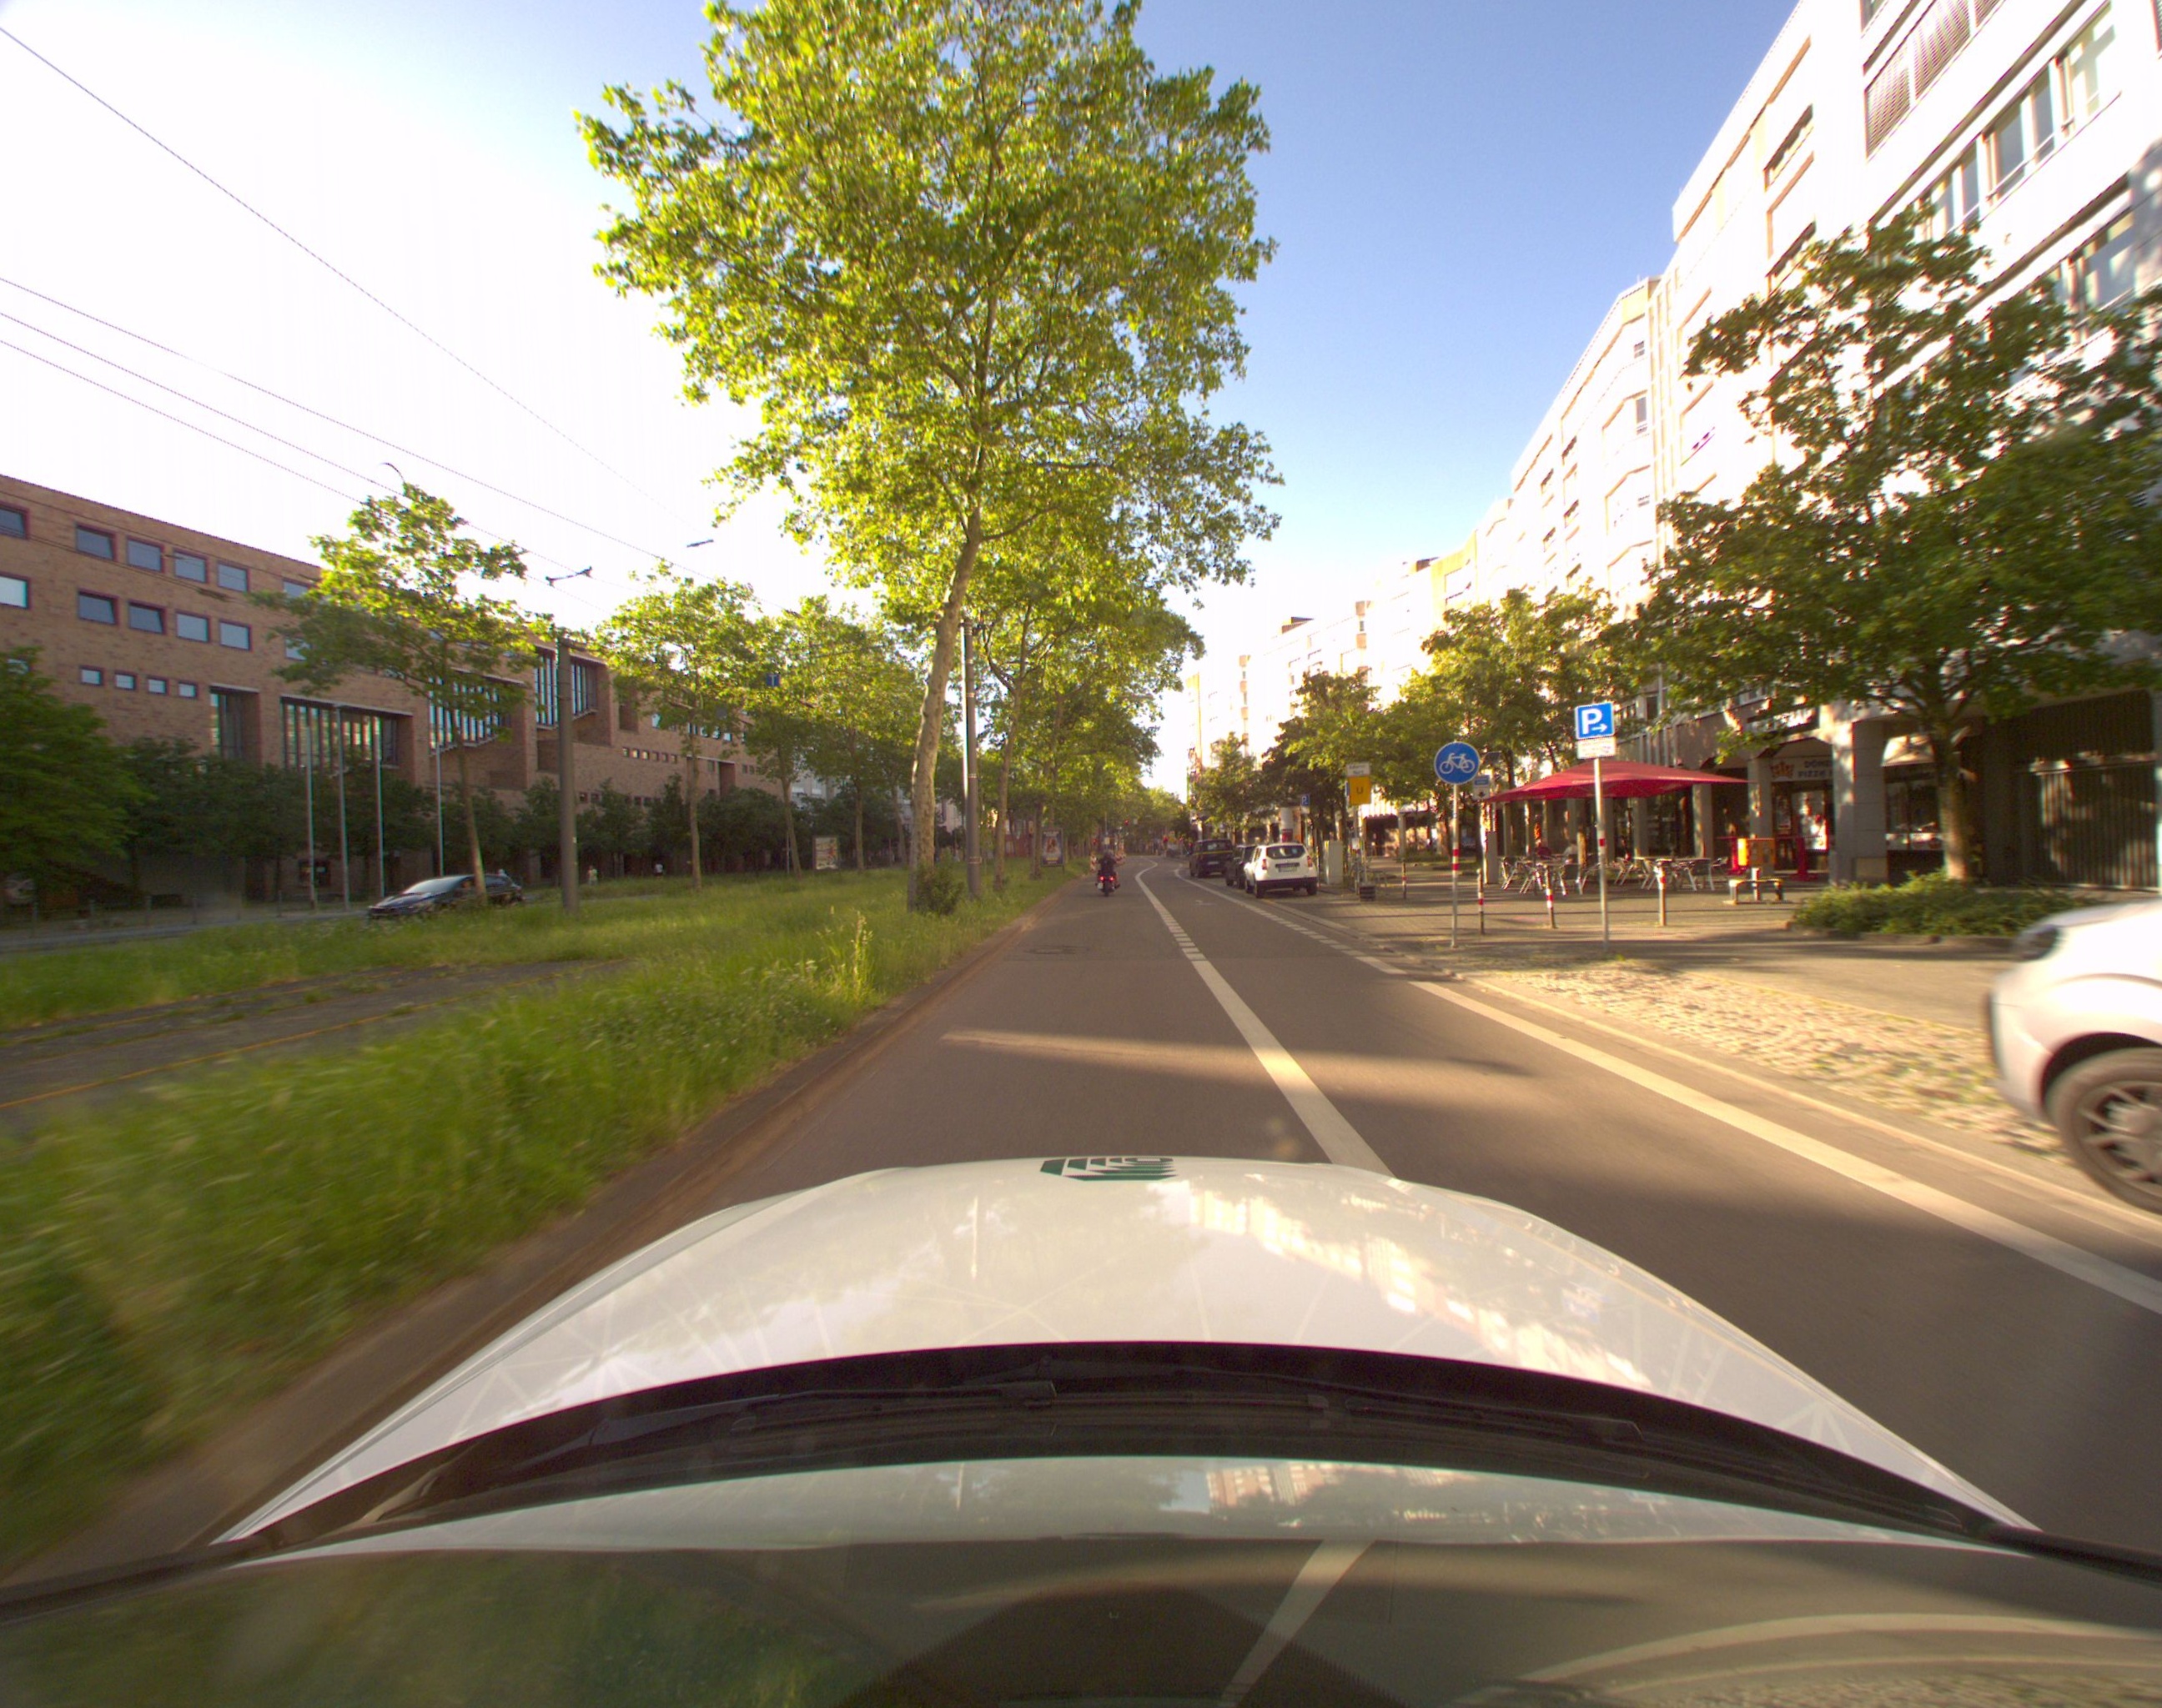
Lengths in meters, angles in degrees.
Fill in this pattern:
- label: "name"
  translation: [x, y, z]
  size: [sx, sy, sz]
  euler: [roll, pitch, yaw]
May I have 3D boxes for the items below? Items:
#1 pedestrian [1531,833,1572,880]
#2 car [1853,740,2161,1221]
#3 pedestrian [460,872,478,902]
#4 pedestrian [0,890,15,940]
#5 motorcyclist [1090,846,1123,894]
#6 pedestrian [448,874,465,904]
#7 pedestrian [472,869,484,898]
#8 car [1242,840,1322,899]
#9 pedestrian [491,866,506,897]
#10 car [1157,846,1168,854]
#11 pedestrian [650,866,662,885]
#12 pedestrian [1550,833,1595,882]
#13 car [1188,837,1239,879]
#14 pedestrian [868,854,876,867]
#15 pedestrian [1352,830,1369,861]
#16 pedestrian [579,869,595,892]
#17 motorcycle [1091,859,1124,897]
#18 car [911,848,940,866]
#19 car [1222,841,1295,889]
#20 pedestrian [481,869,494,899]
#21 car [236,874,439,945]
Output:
- label: "pedestrian"
  translation: [16.162, 0.080, 28.005]
  size: [0.865, 1.546, 0.996]
  euler: [-2, 0, 8]
- label: "car"
  translation: [4.983, 0.425, 1.804]
  size: [1.915, 1.843, 4.928]
  euler: [-5, 0, 3]
- label: "pedestrian"
  translation: [-29.529, 1.604, 39.295]
  size: [0.388, 1.416, 0.486]
  euler: [-2, 0, 10]
- label: "pedestrian"
  translation: [-41.494, 2.329, 30.896]
  size: [0.970, 1.881, 0.883]
  euler: [-2, 0, 13]
- label: "motorcyclist"
  translation: [0.900, 0.533, 28.074]
  size: [1.018, 1.552, 1.288]
  euler: [-2, 1, 4]
- label: "pedestrian"
  translation: [-30.248, 1.705, 39.426]
  size: [0.388, 1.416, 0.460]
  euler: [-2, 0, 9]
- label: "pedestrian"
  translation: [-30.229, 1.478, 40.834]
  size: [0.290, 1.457, 0.317]
  euler: [-2, 0, 9]
- label: "car"
  translation: [6.195, 0.440, 25.501]
  size: [1.850, 1.638, 3.874]
  euler: [-3, 0, 6]
- label: "pedestrian"
  translation: [-29.208, 1.373, 40.838]
  size: [0.363, 1.523, 0.424]
  euler: [-2, 0, 11]
- label: "car"
  translation: [17.465, -0.872, 173.721]
  size: [1.982, 1.706, 4.011]
  euler: [-2, 1, 9]
- label: "pedestrian"
  translation: [-29.083, 1.449, 55.731]
  size: [0.499, 1.291, 0.523]
  euler: [-2, 0, 7]
- label: "pedestrian"
  translation: [16.076, 0.121, 26.674]
  size: [0.866, 1.546, 0.995]
  euler: [-2, 0, 5]
- label: "car"
  translation: [6.917, 0.194, 43.003]
  size: [2.022, 1.976, 4.417]
  euler: [-3, 0, 2]
- label: "pedestrian"
  translation: [-24.640, 0.743, 96.017]
  size: [0.624, 1.520, 0.682]
  euler: [-2, 0, 18]
- label: "pedestrian"
  translation: [19.011, -0.571, 55.351]
  size: [0.863, 2.013, 0.883]
  euler: [-2, 0, 3]
- label: "pedestrian"
  translation: [-28.614, 1.509, 47.155]
  size: [0.499, 1.291, 0.523]
  euler: [-2, 0, 7]
- label: "motorcycle"
  translation: [0.926, 0.808, 28.116]
  size: [1.001, 1.125, 2.326]
  euler: [-2, 2, 4]
- label: "car"
  translation: [-15.805, 0.324, 82.975]
  size: [1.893, 1.686, 4.002]
  euler: [-2, 1, 2]
- label: "car"
  translation: [6.716, 0.391, 31.277]
  size: [1.979, 1.629, 4.087]
  euler: [-3, 0, 2]
- label: "pedestrian"
  translation: [-29.760, 1.507, 40.833]
  size: [0.316, 1.457, 0.342]
  euler: [-2, 0, 9]
- label: "car"
  translation: [-17.853, 1.265, 19.814]
  size: [1.589, 1.399, 3.729]
  euler: [-2, 1, -4]
